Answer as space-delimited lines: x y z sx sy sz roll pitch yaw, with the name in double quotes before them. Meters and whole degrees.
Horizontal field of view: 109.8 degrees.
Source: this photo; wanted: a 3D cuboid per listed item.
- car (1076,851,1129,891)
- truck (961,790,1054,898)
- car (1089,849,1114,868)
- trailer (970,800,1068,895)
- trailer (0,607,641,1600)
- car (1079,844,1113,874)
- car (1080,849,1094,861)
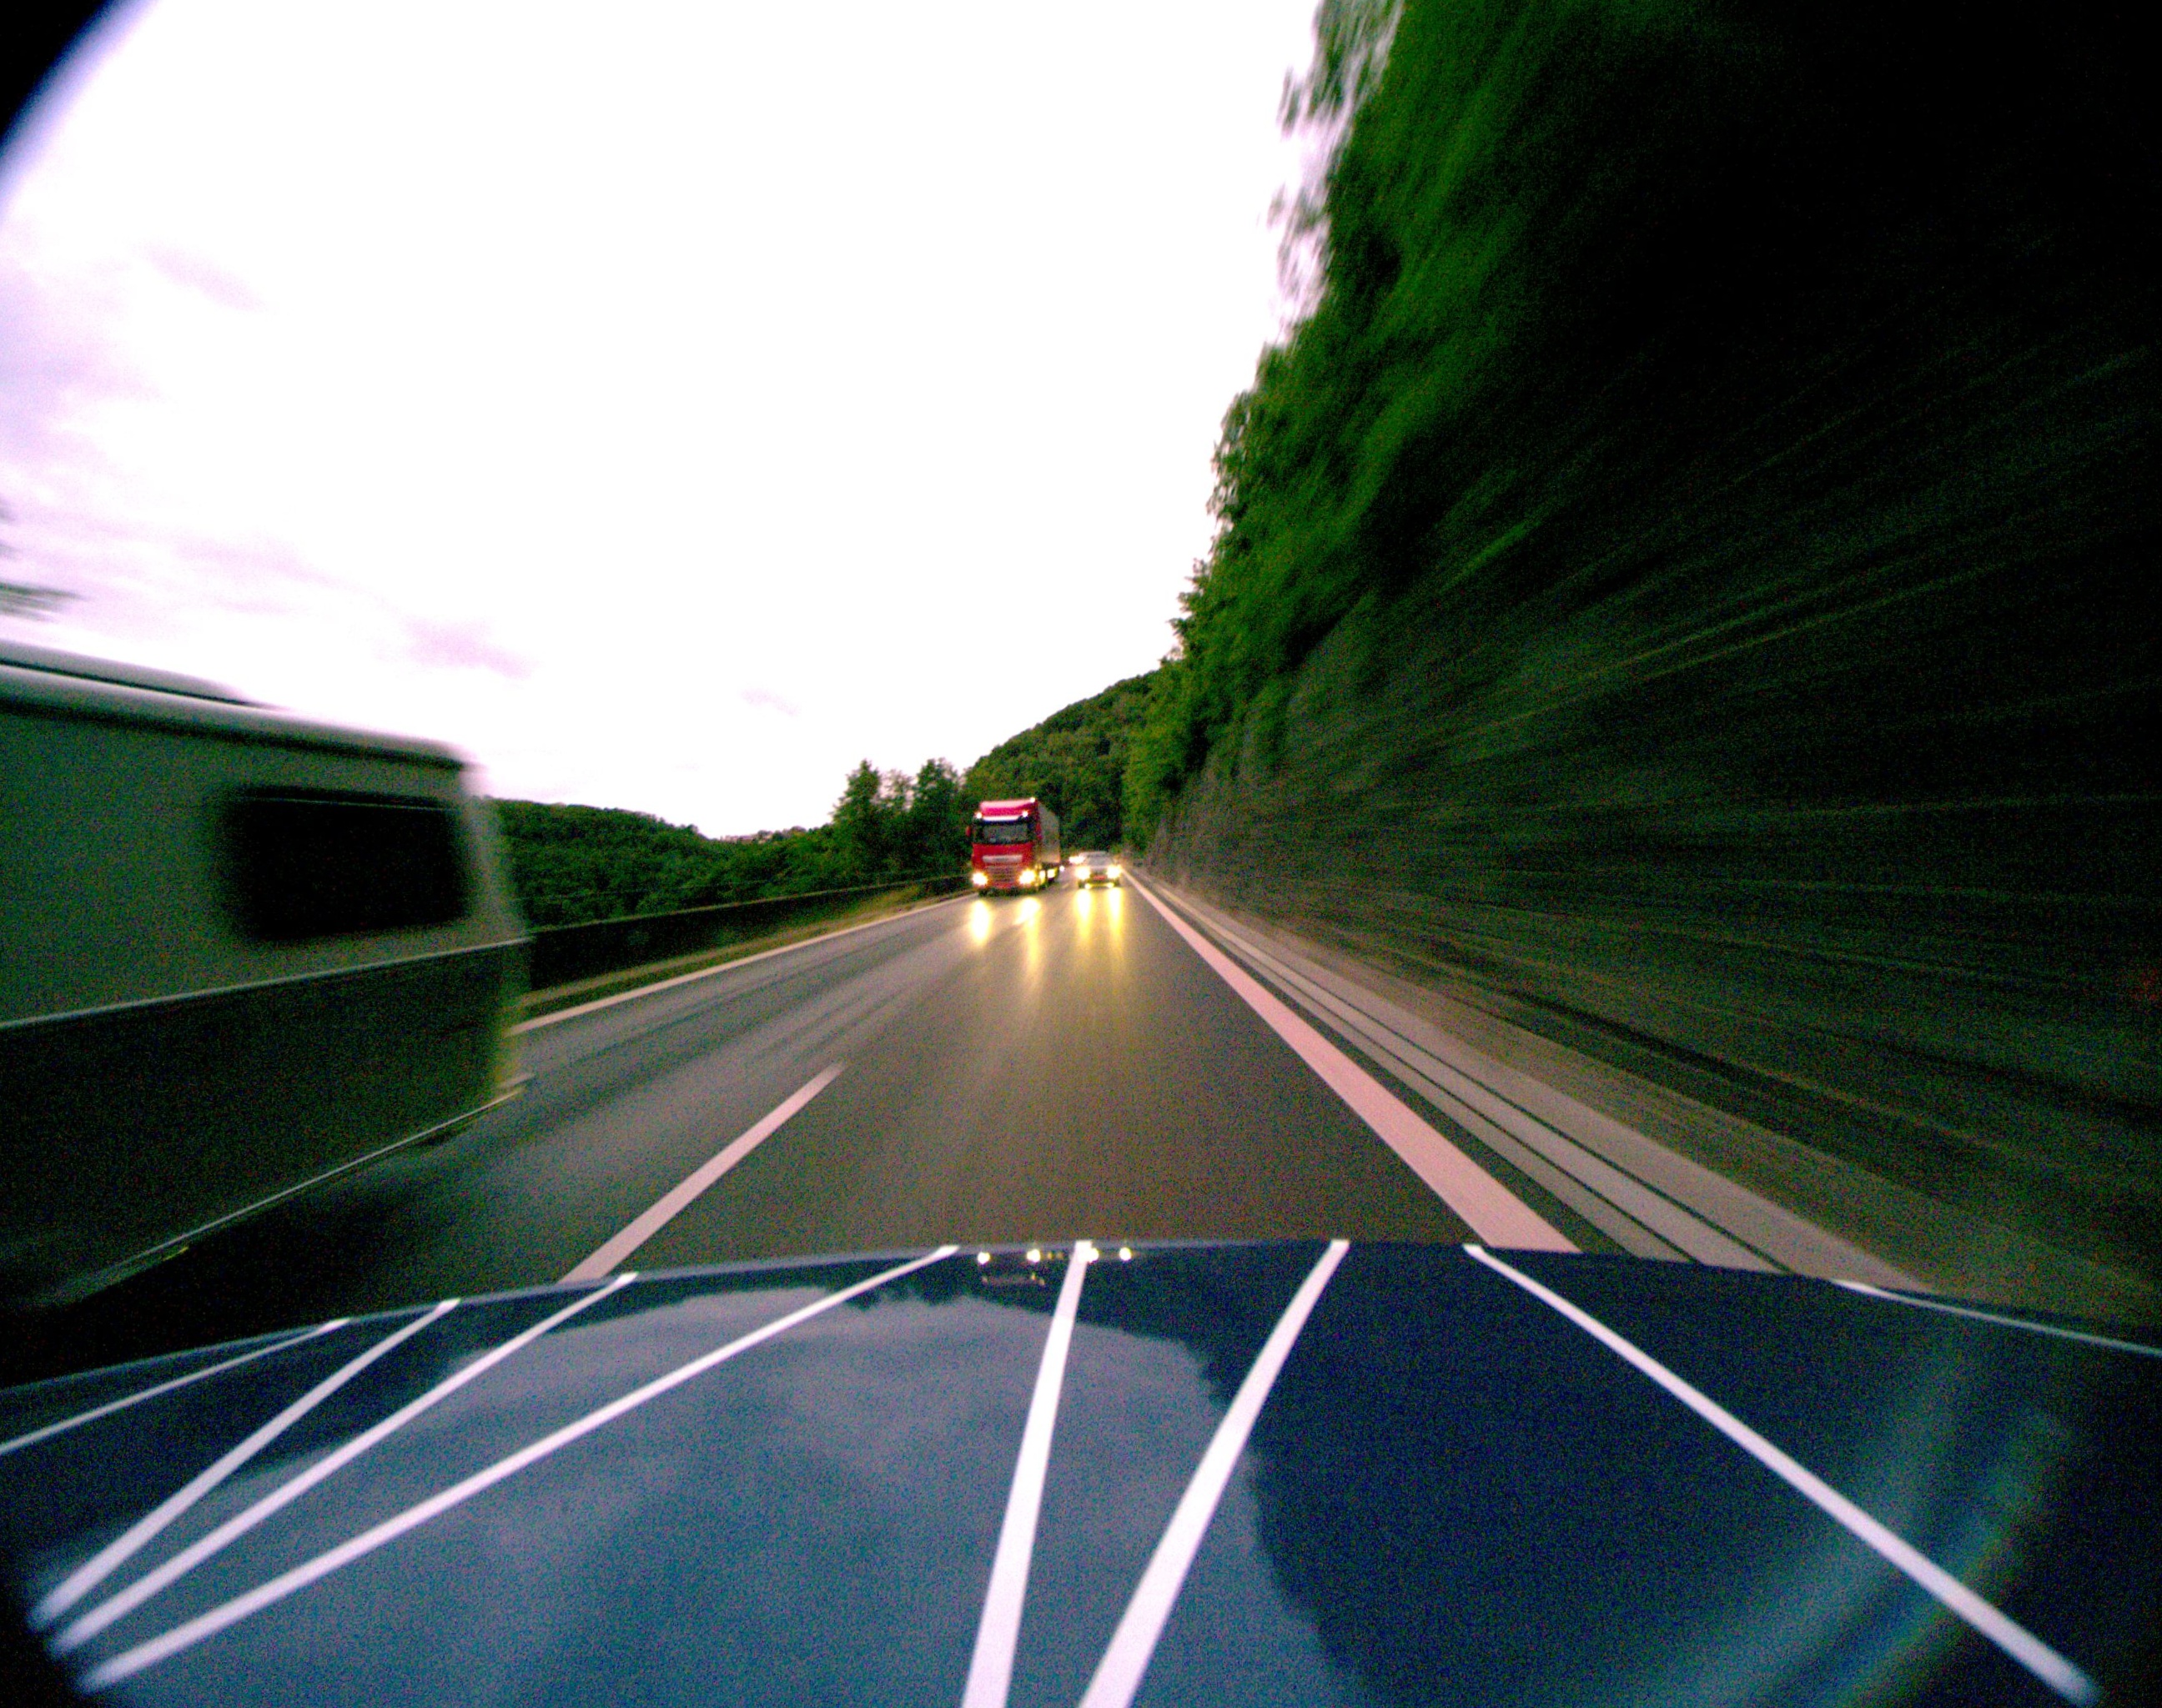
"car" 1.013 0.688 33.763 1.998 1.499 4.001 -3 1 6
"truck" -3.024 -0.406 33.304 3.077 4.120 6.446 -3 1 1
"car" 1.823 0.413 66.460 1.998 1.499 4.001 -3 -1 3
"trailer" -2.796 -0.243 39.556 3.104 3.946 14.221 -3 0 3
"trailer" -3.655 0.637 1.248 2.059 2.361 5.938 -4 0 2
"car" 0.953 0.314 49.936 1.998 1.630 4.000 -7 0 0
"car" 0.964 0.195 115.508 1.998 1.761 4.001 -2 0 2
